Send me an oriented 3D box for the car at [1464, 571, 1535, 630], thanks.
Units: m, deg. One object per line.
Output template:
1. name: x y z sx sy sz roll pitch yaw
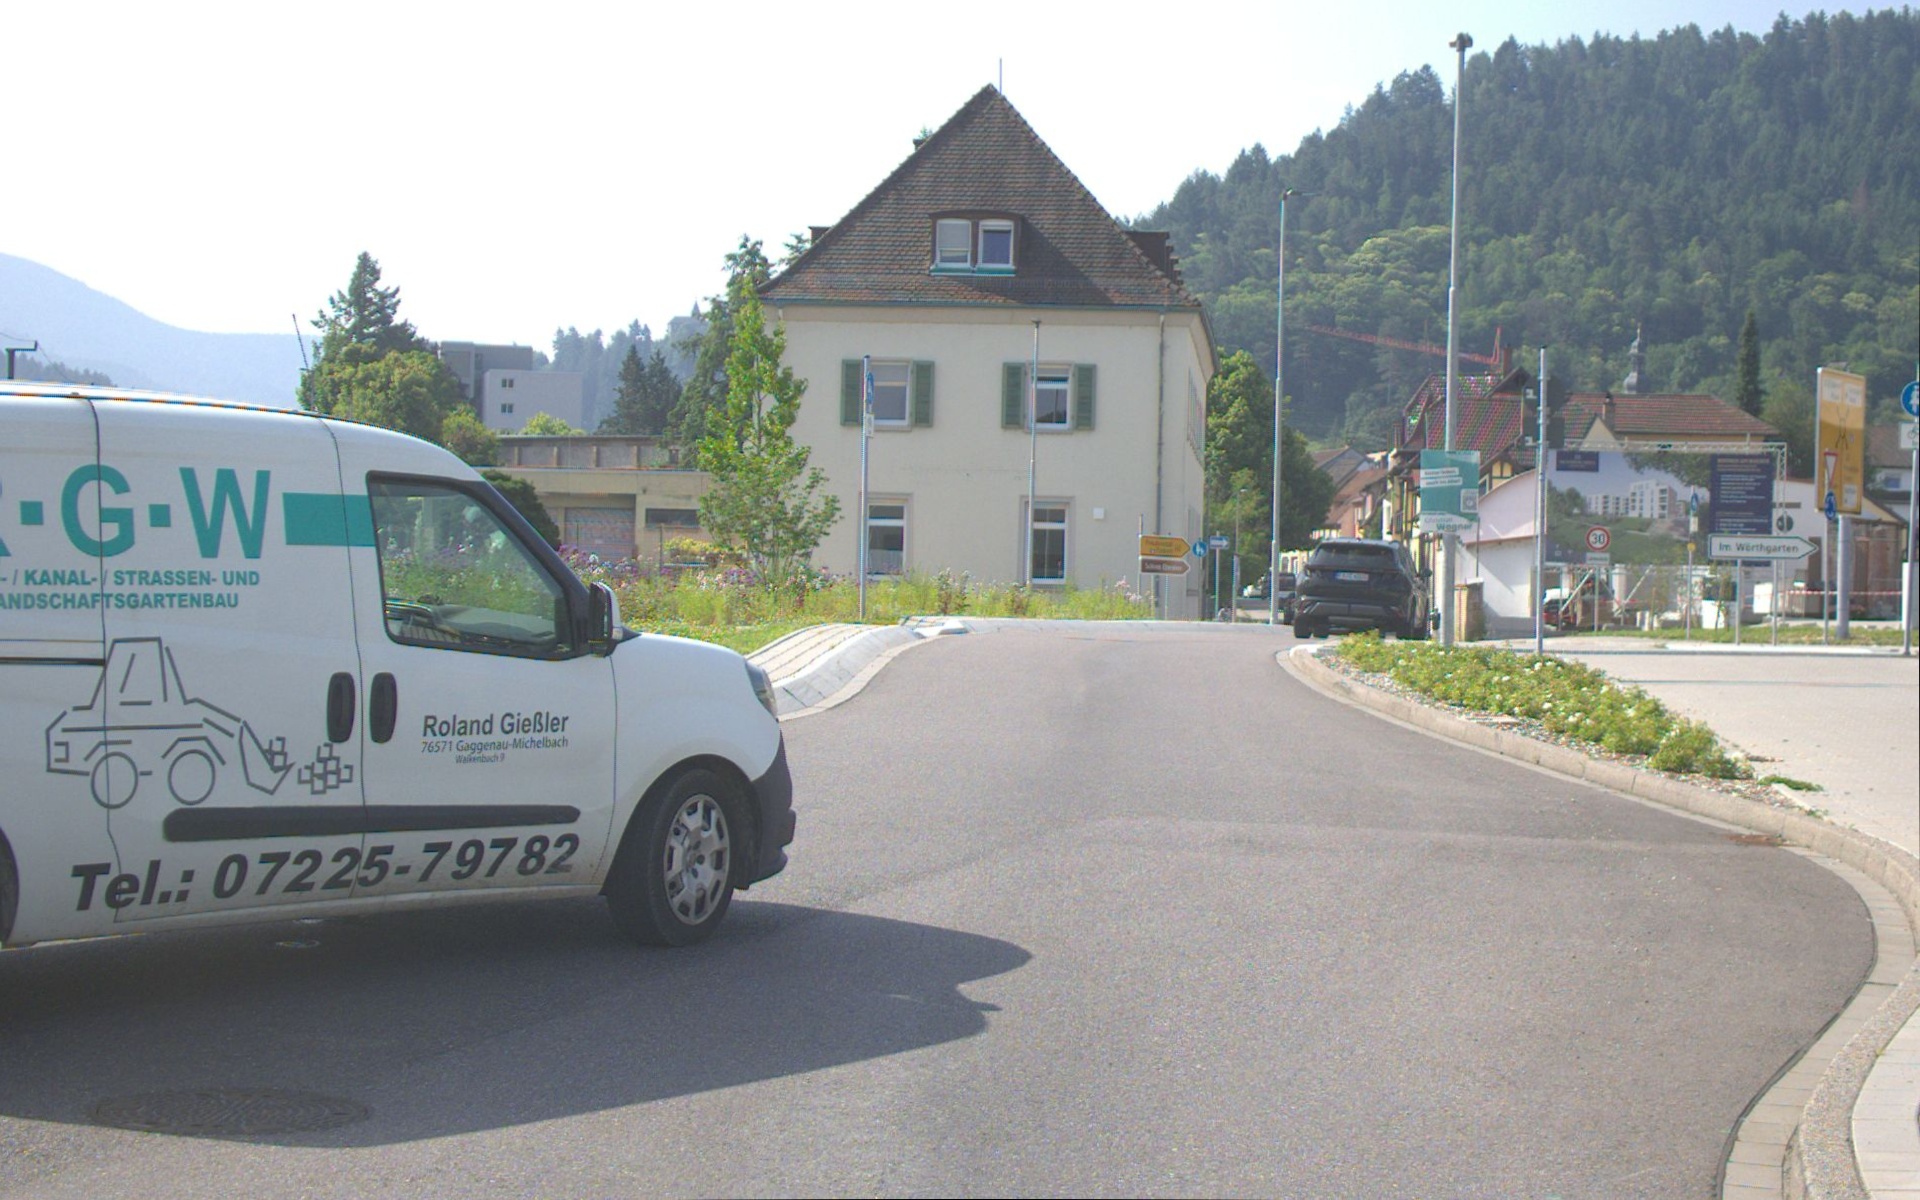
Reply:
1. car: 18.989 0.034 121.032 1.994 2.007 4.000 1 0 2

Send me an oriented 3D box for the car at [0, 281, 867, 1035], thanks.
1. car: -2.527 0.072 10.909 1.810 2.070 4.594 4 5 40

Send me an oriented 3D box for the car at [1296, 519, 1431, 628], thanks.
1. car: 6.552 -0.404 55.559 1.882 1.678 3.998 1 0 11

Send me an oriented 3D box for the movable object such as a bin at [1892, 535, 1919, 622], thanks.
1. movable object such as a bin: 21.141 -0.441 73.254 2.445 1.838 1.427 1 0 15
